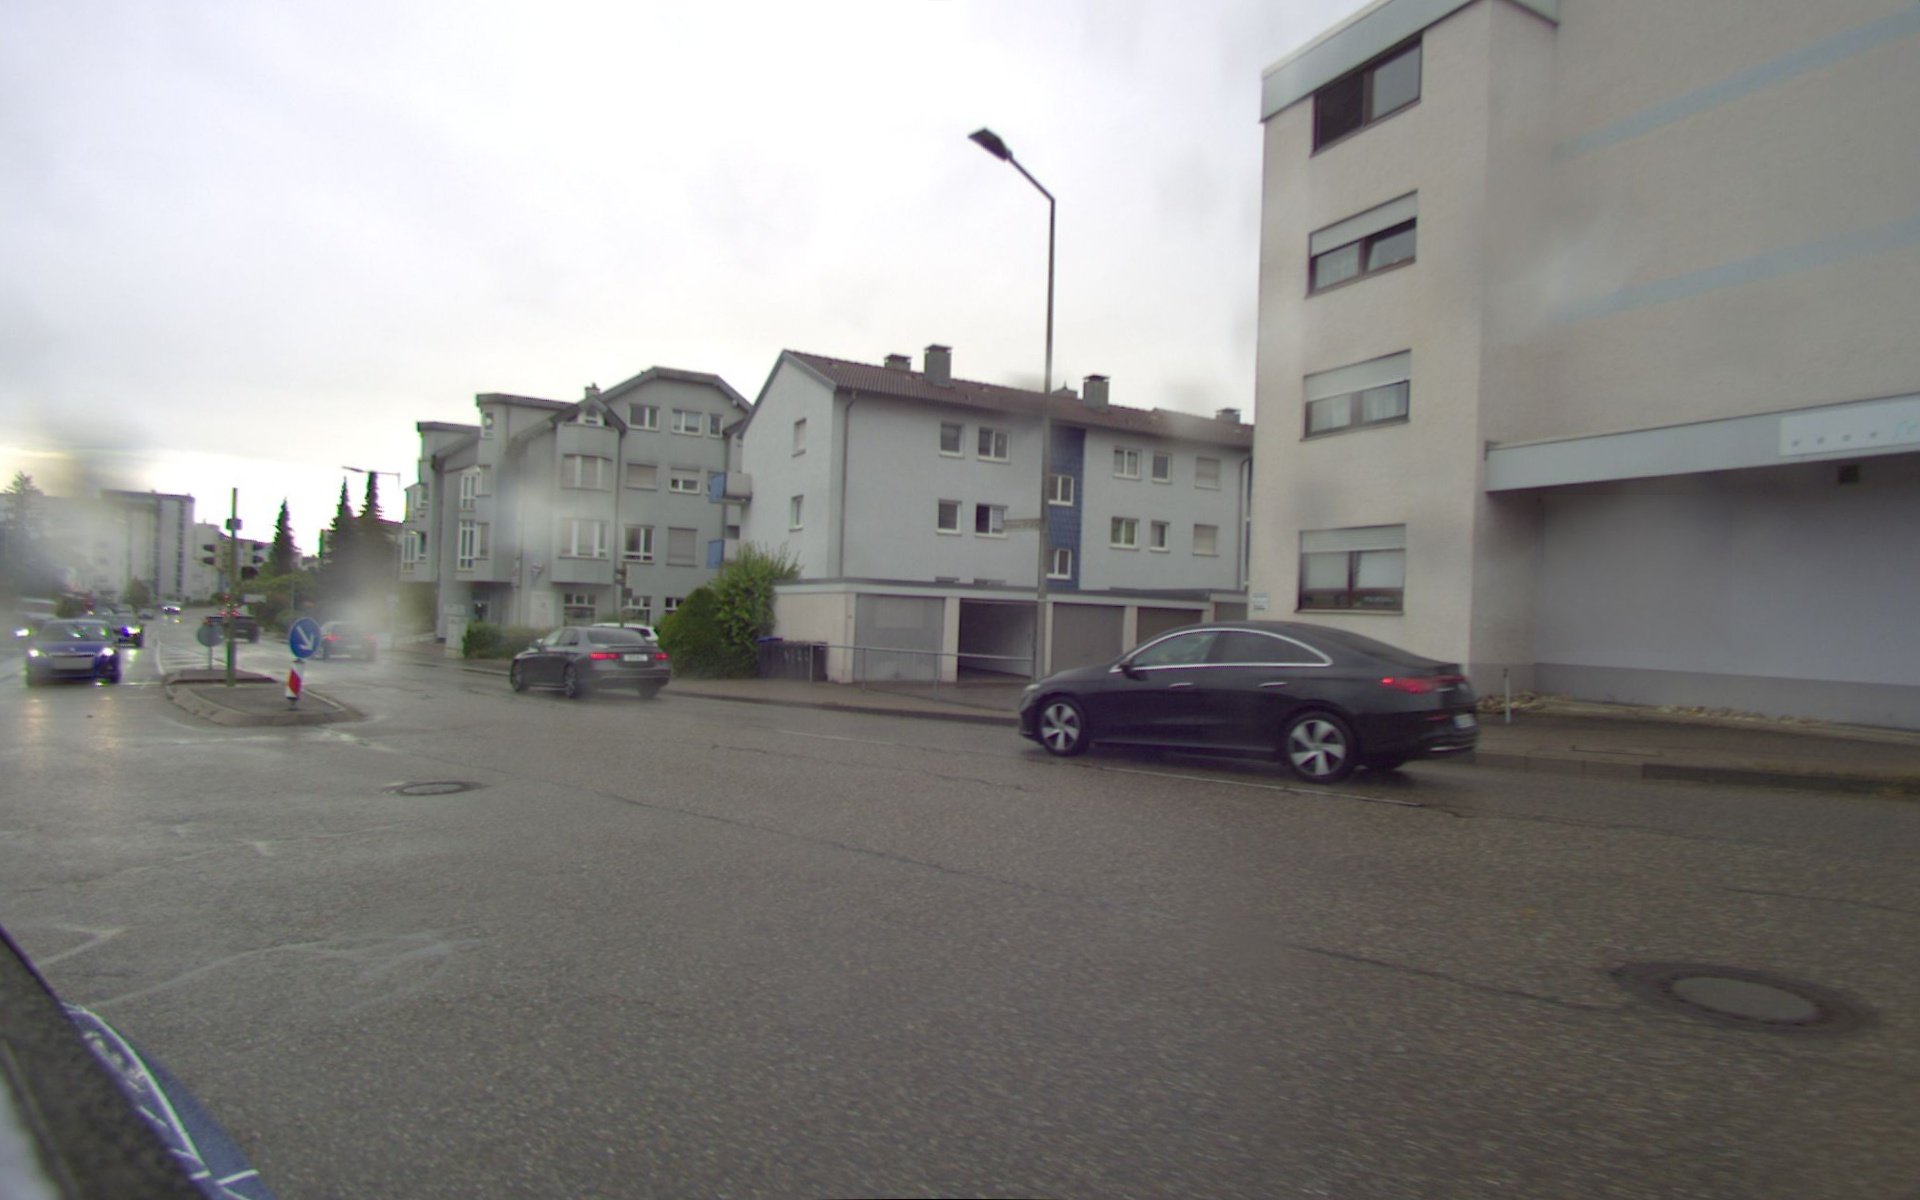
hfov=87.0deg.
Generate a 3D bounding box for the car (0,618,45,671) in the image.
[{"bbox_3d":[-35.961,1.610,37.924,3.999,1.874,1.972,0,-4,42],"label":"car"}]

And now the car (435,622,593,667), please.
[{"bbox_3d":[-17.713,1.748,40.343,5.391,1.697,2.152,2,-2,-38],"label":"car"}]

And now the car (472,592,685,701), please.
[{"bbox_3d":[-8.356,1.003,21.754,2.065,2.029,5.985,5,-5,-43],"label":"car"}]

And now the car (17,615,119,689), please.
[{"bbox_3d":[-20.515,1.164,23.374,1.627,1.568,3.357,2,-2,-40],"label":"car"}]

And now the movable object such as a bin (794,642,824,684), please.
[{"bbox_3d":[-3.549,1.473,23.750,0.492,0.968,0.603,2,-2,-29],"label":"movable object such as a bin"}]

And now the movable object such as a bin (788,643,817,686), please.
[{"bbox_3d":[-3.797,1.544,24.340,0.492,0.968,0.536,-3,1,-29],"label":"movable object such as a bin"}]

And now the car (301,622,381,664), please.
[{"bbox_3d":[-23.466,1.593,38.293,1.766,1.483,4.167,2,-2,-43],"label":"car"}]

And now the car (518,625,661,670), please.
[{"bbox_3d":[-13.439,1.721,36.831,4.548,1.508,1.934,2,-2,-33],"label":"car"}]

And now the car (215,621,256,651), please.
[{"bbox_3d":[-47.080,2.332,65.720,2.069,1.847,4.744,2,-2,-36],"label":"car"}]

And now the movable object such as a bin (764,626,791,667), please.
[{"bbox_3d":[-4.658,1.178,25.804,0.492,0.968,0.536,-3,1,-29],"label":"movable object such as a bin"}]

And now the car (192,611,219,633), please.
[{"bbox_3d":[-73.113,2.140,98.092,1.967,2.029,4.009,2,-2,-36],"label":"car"}]

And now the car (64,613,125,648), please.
[{"bbox_3d":[-50.842,1.798,59.525,1.966,1.874,4.012,4,-3,-31],"label":"car"}]

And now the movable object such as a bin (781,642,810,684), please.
[{"bbox_3d":[-4.038,1.548,24.834,0.492,0.968,0.536,-3,1,-29],"label":"movable object such as a bin"}]

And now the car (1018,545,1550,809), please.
[{"bbox_3d":[3.021,0.643,10.057,4.648,2.029,1.973,-1,-2,40],"label":"car"}]

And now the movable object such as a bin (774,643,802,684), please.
[{"bbox_3d":[-4.301,1.575,25.293,0.492,0.968,0.536,-3,1,-29],"label":"movable object such as a bin"}]

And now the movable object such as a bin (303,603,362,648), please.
[{"bbox_3d":[-41.084,1.686,66.335,2.877,2.863,2.204,1,-2,-24],"label":"movable object such as a bin"}]

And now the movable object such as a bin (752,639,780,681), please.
[{"bbox_3d":[-5.054,1.545,26.385,0.492,1.026,0.690,-3,1,-29],"label":"movable object such as a bin"}]

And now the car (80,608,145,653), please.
[{"bbox_3d":[-39.961,1.437,47.808,1.967,2.029,4.010,2,-2,-35],"label":"car"}]
